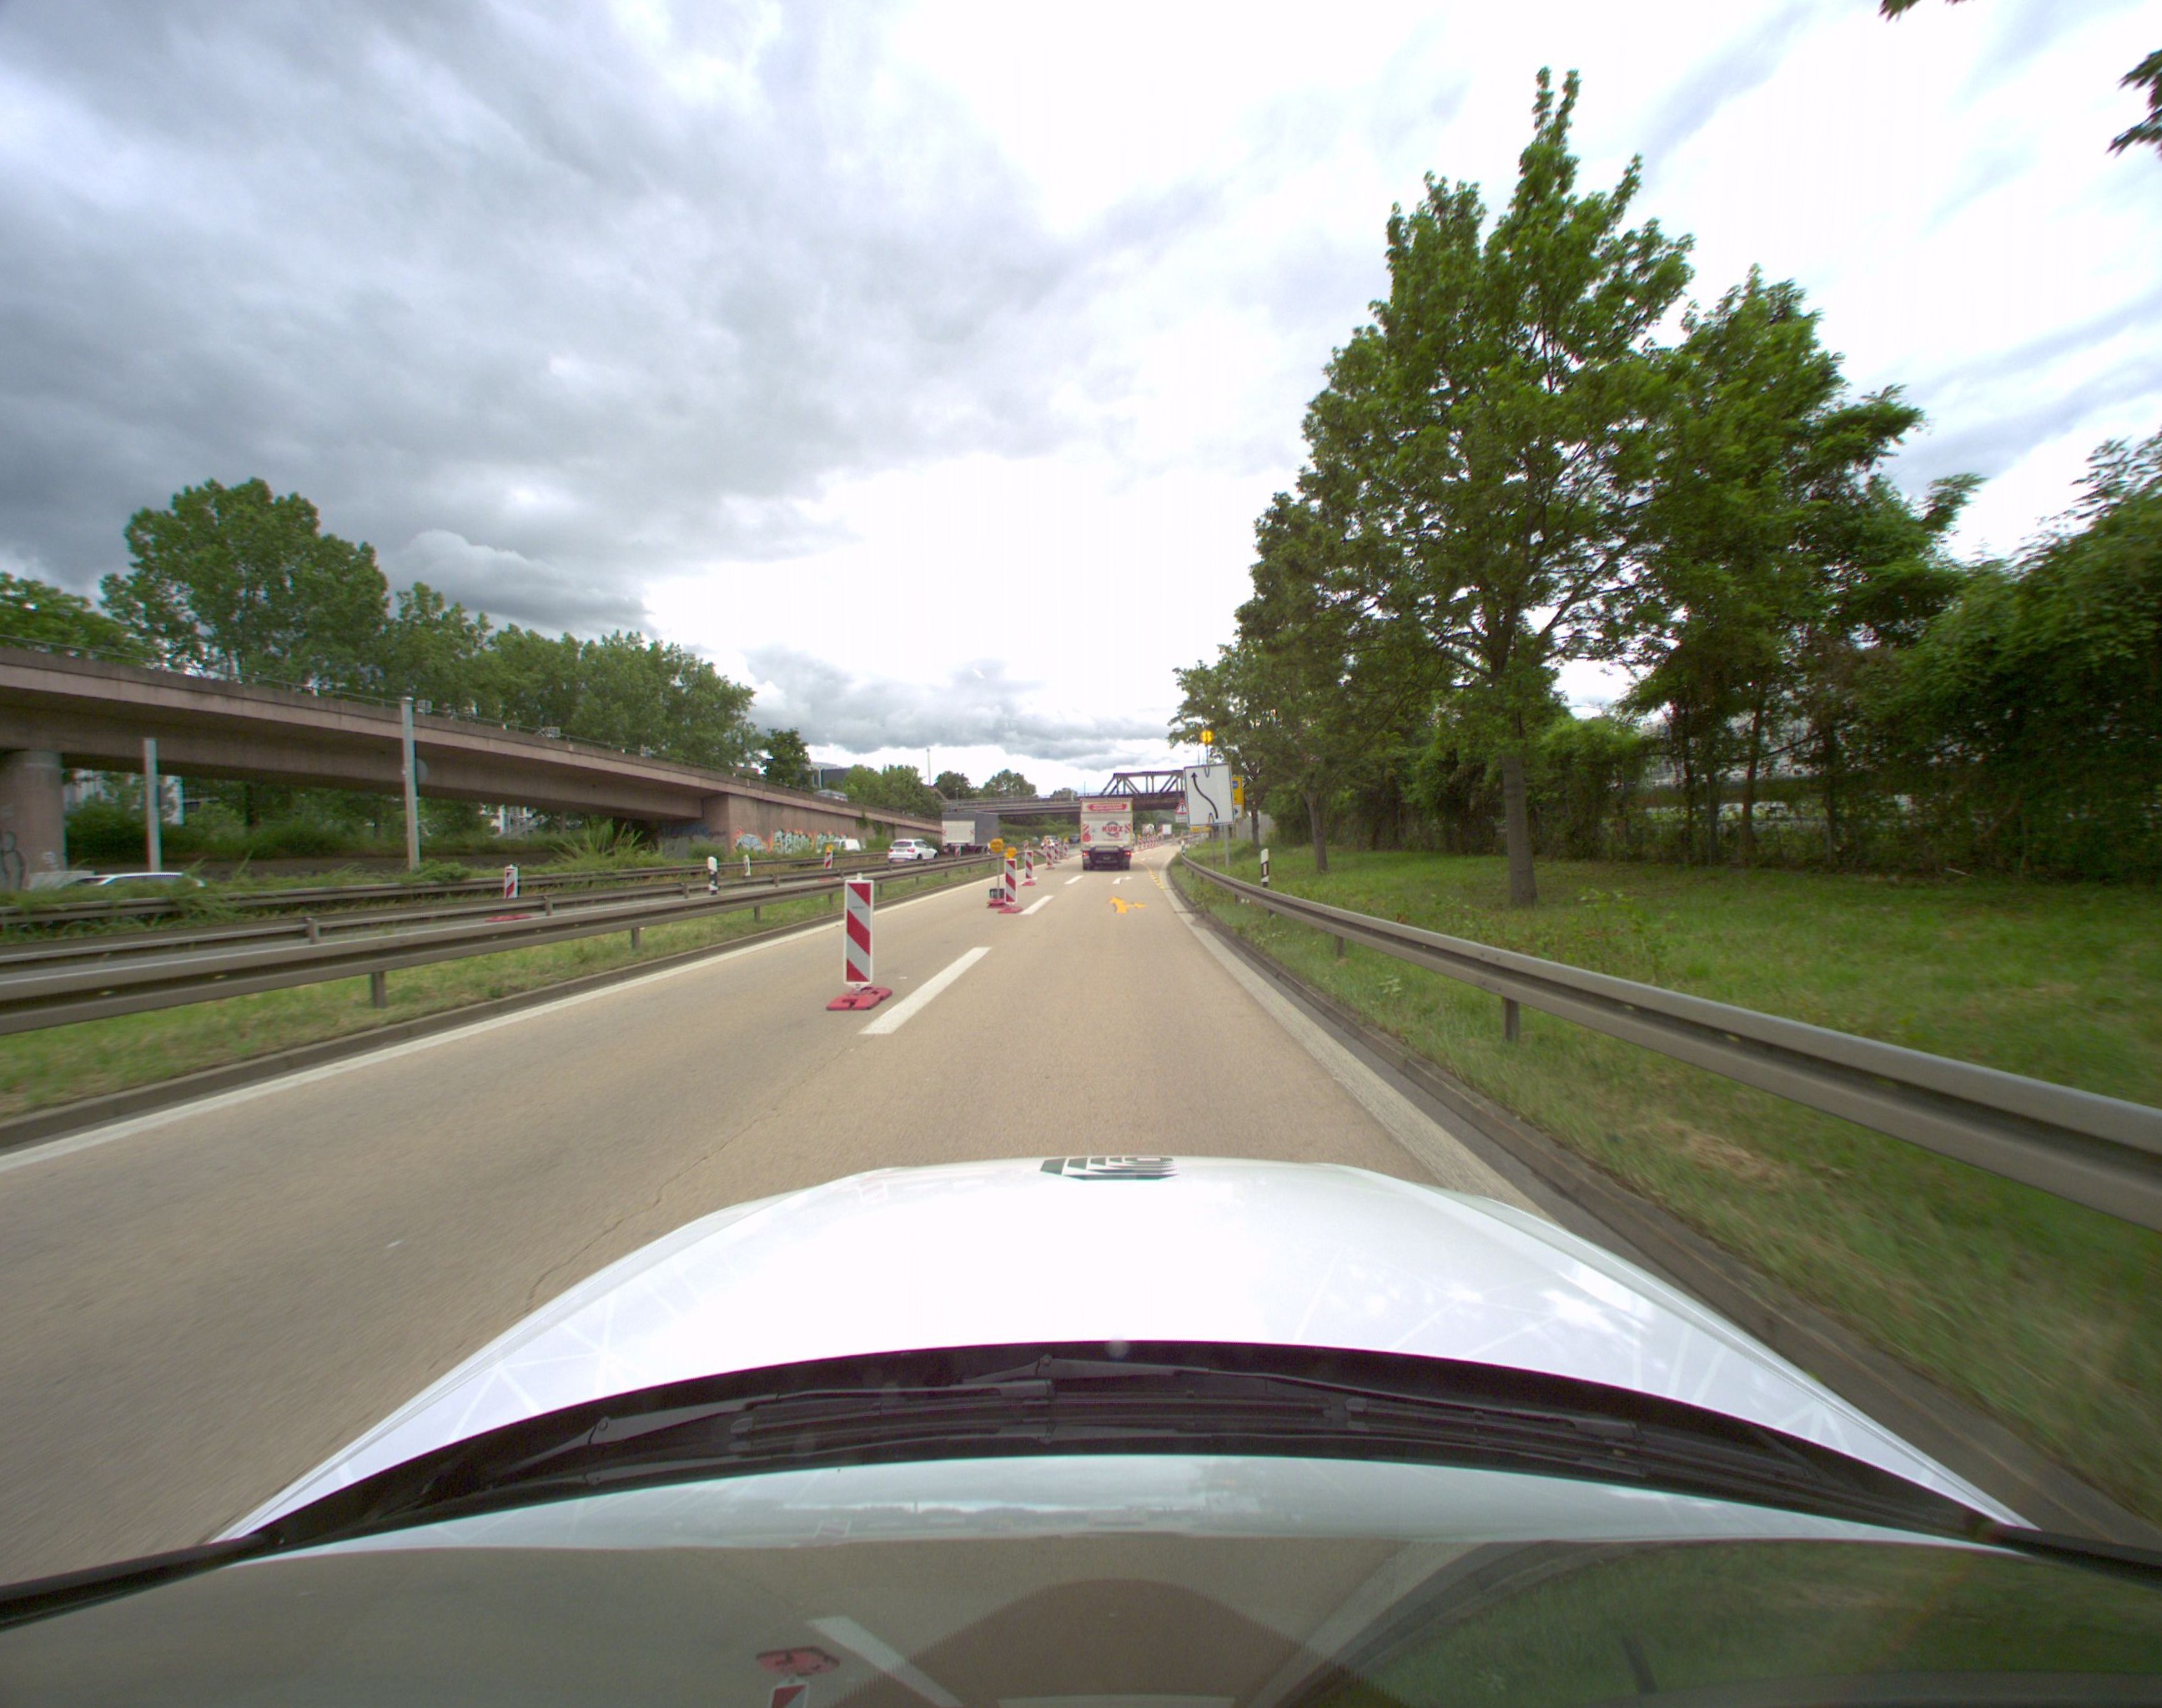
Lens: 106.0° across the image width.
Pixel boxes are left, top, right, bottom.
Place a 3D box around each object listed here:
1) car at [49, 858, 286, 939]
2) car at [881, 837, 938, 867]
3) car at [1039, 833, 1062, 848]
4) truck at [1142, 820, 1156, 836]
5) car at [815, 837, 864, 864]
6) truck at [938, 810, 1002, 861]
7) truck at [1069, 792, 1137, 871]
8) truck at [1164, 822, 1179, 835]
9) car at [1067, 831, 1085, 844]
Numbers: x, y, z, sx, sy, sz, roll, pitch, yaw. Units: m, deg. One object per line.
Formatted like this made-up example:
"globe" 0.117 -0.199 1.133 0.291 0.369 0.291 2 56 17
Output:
"car" -26.091 1.205 23.478 1.979 2.013 4.015 -1 1 13
"car" -10.528 -0.163 50.238 1.981 1.712 4.113 -1 1 11
"car" -3.486 -1.550 93.082 1.983 1.618 4.008 -1 1 6
"truck" 17.392 -6.626 209.228 3.269 3.852 7.679 -1 1 6
"car" -19.170 -0.319 64.818 1.983 2.013 4.718 -1 1 6
"truck" -8.461 -1.407 62.976 3.034 3.656 7.411 -1 1 7
"truck" 1.336 -1.142 42.627 3.037 3.672 7.938 -1 1 5
"truck" 24.997 -7.089 225.768 3.889 3.548 8.152 -1 1 5
"car" -0.615 -2.193 109.833 1.983 1.618 4.008 -1 1 6
